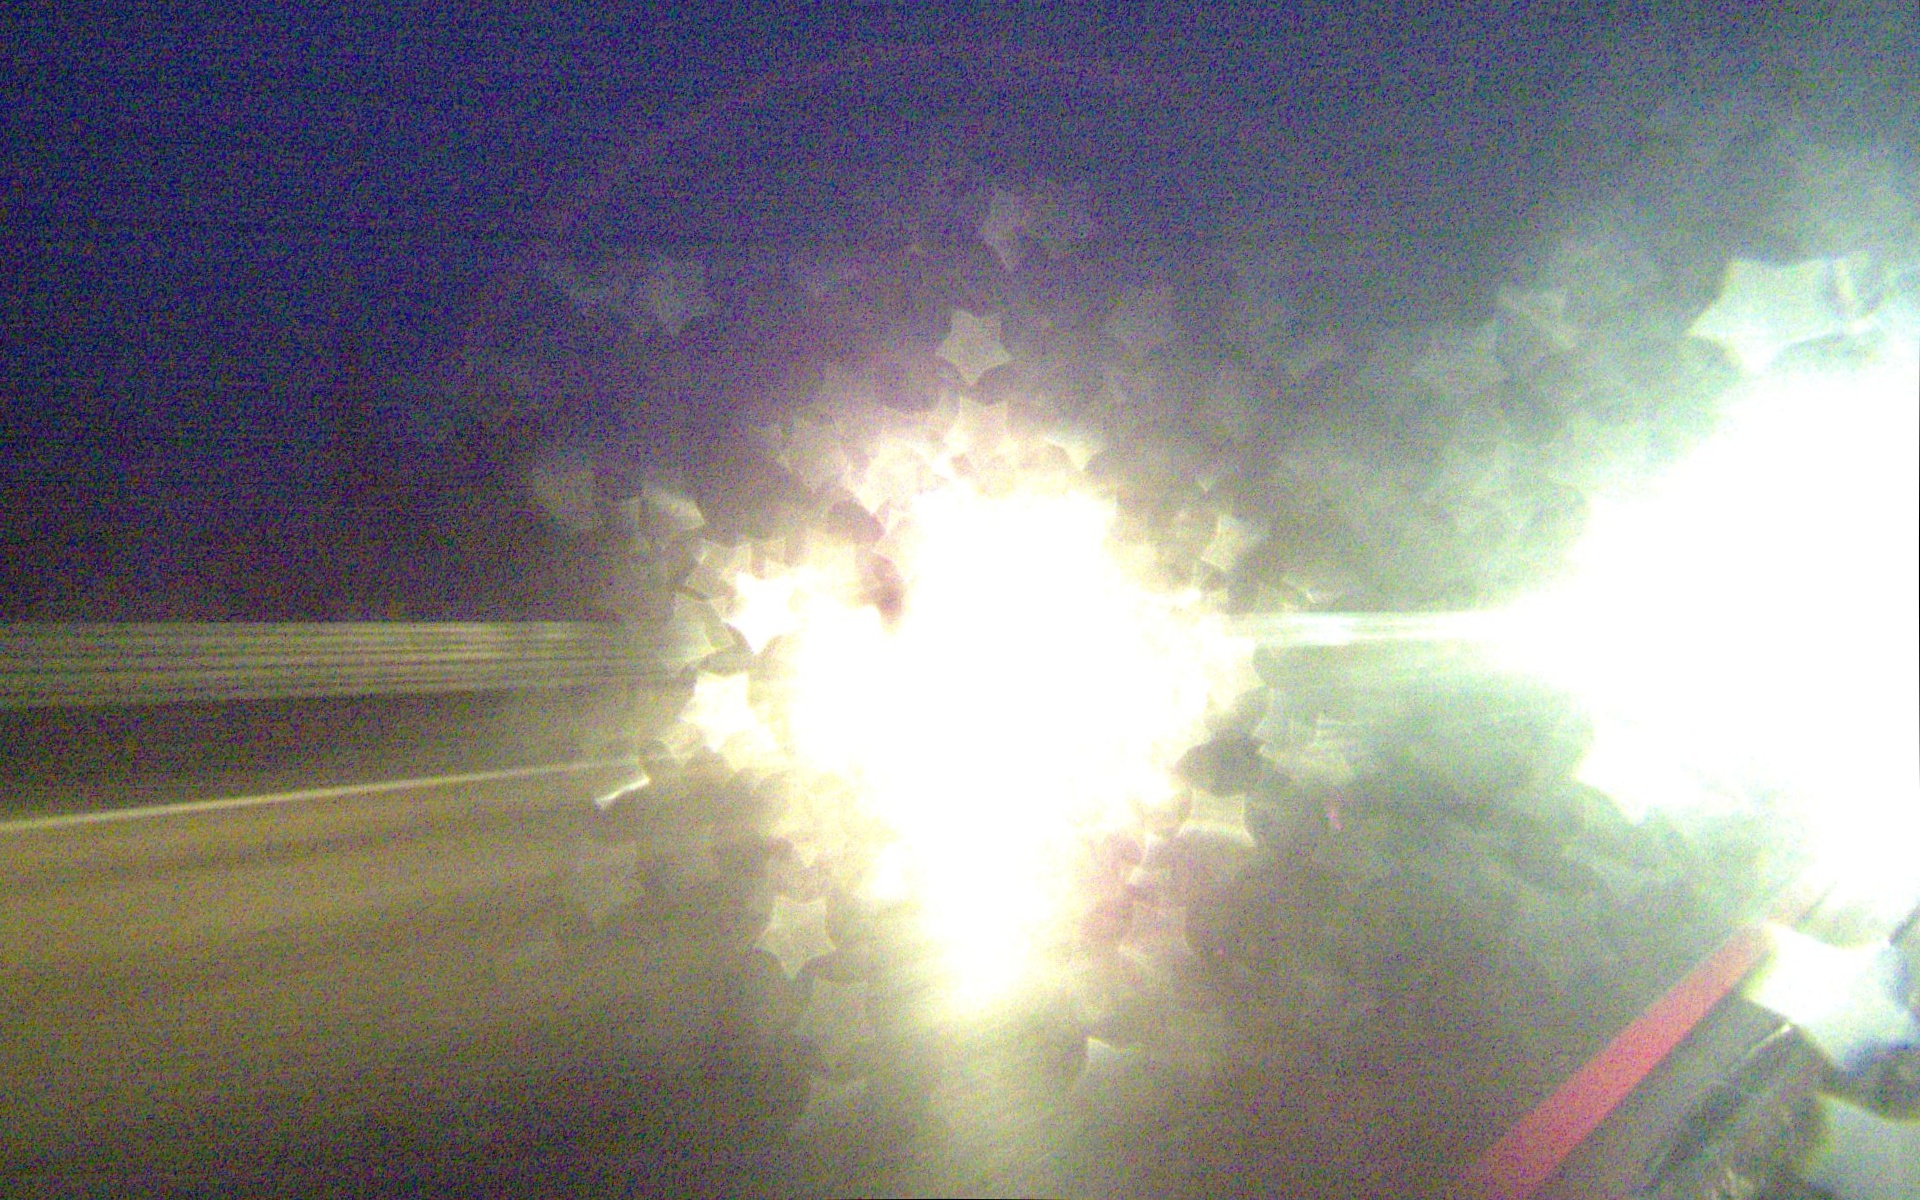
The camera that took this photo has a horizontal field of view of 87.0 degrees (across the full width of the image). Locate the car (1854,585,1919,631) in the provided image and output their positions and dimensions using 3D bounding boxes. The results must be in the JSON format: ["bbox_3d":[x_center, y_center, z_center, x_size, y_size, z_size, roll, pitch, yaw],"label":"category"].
[{"bbox_3d":[40.085,0.370,43.548,4.616,1.870,1.830,1,-1,-41],"label":"car"}]

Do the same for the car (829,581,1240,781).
[{"bbox_3d":[0.852,0.615,9.749,3.943,1.521,1.643,0,1,-41],"label":"car"}]
